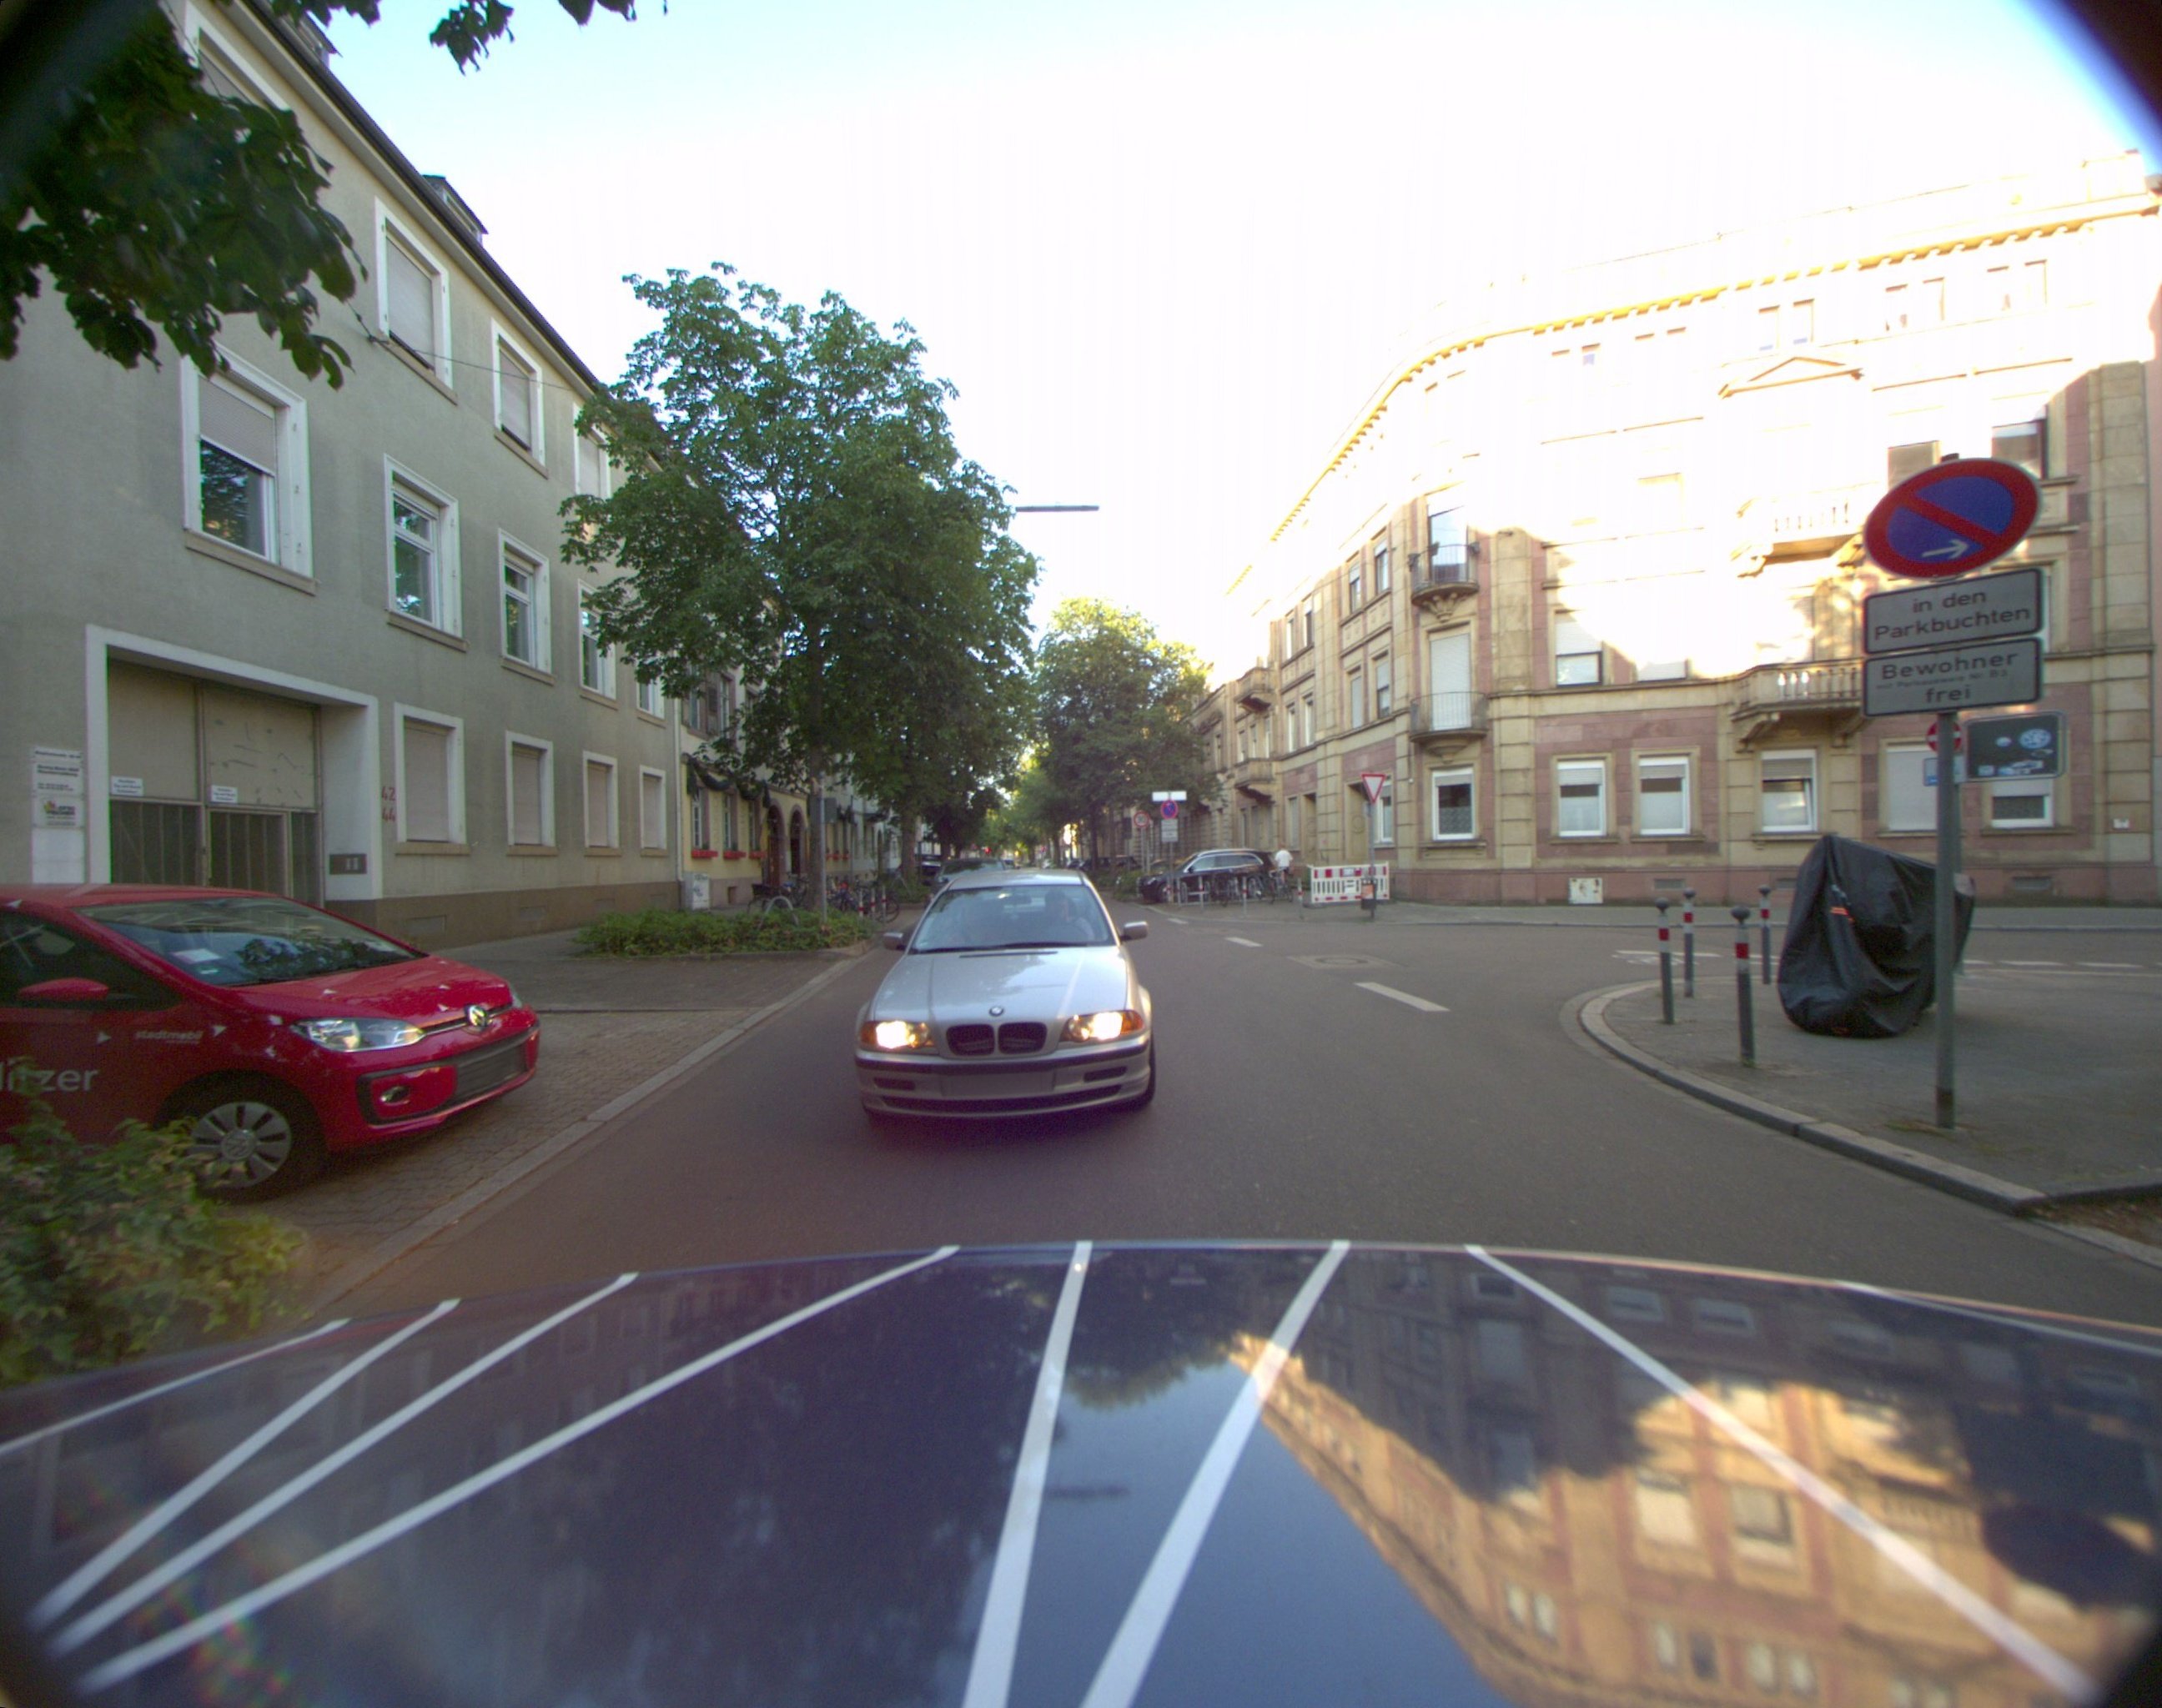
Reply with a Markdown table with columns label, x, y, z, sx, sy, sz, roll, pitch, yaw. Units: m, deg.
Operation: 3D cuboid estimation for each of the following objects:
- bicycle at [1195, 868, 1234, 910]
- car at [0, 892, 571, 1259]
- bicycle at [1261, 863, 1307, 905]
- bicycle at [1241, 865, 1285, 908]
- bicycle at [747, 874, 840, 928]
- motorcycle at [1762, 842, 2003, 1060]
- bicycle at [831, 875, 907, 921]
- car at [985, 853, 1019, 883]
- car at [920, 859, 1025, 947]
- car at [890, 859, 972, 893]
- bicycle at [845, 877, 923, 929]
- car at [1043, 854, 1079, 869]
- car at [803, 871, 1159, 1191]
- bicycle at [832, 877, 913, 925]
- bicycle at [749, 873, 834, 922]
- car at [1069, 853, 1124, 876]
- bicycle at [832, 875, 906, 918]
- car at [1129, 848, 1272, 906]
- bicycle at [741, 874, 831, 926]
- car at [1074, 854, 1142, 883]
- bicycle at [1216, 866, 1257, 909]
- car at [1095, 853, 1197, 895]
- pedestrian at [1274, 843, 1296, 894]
| label | x | y | z | sx | sy | sz | roll | pitch | yaw |
| --- | --- | --- | --- | --- | --- | --- | --- | --- | --- |
| bicycle | 3.887 | 0.996 | 22.210 | 0.562 | 1.144 | 2.038 | -1 | 0 | -6 |
| car | -5.131 | 1.015 | 4.040 | 3.621 | 1.468 | 1.664 | -1 | 0 | -6 |
| bicycle | 5.939 | 0.852 | 22.357 | 0.562 | 1.144 | 2.038 | -1 | 0 | -7 |
| bicycle | 5.320 | 0.931 | 22.311 | 0.562 | 1.144 | 2.038 | -1 | 0 | -7 |
| bicycle | -6.913 | 1.129 | 18.363 | 2.030 | 1.220 | 0.535 | -1 | 1 | -16 |
| motorcycle | 6.545 | 0.665 | 6.170 | 2.286 | 1.496 | 0.816 | -1 | 1 | -30 |
| bicycle | -5.988 | 1.242 | 21.528 | 2.029 | 1.220 | 0.535 | -1 | 1 | -10 |
| car | -4.439 | 0.755 | 43.095 | 1.806 | 1.543 | 3.998 | -1 | 0 | -5 |
| car | -2.110 | 0.901 | 15.825 | 1.806 | 1.543 | 3.999 | -1 | 0 | -3 |
| car | -8.292 | 1.210 | 42.293 | 4.245 | 1.729 | 1.741 | -1 | 0 | -6 |
| bicycle | -4.913 | 1.216 | 19.001 | 1.849 | 1.220 | 0.535 | -1 | 1 | -16 |
| car | -2.474 | 0.881 | 93.125 | 4.245 | 1.749 | 1.741 | -1 | 0 | -4 |
| car | -0.446 | 0.919 | 5.936 | 1.711 | 1.433 | 4.436 | -1 | 0 | 1 |
| bicycle | -5.529 | 1.240 | 20.245 | 2.029 | 1.220 | 0.535 | -1 | 1 | -10 |
| bicycle | -7.683 | 1.136 | 20.216 | 2.029 | 1.220 | 0.535 | -1 | 1 | -12 |
| car | 1.240 | 0.800 | 61.418 | 4.245 | 1.749 | 1.741 | -1 | 0 | -4 |
| bicycle | -6.225 | 1.241 | 22.400 | 2.029 | 1.220 | 0.535 | -1 | 1 | -10 |
| car | 3.886 | 0.723 | 25.219 | 4.423 | 1.771 | 1.741 | -1 | 0 | -2 |
| bicycle | -7.369 | 1.137 | 19.069 | 2.030 | 1.220 | 0.535 | -1 | 1 | -16 |
| car | 1.712 | 0.902 | 48.944 | 4.245 | 1.749 | 1.741 | -1 | 0 | -4 |
| bicycle | 4.526 | 0.952 | 22.274 | 0.562 | 1.144 | 2.038 | -1 | 0 | -6 |
| car | 2.735 | 0.846 | 32.644 | 4.243 | 1.668 | 1.742 | -1 | 0 | 0 |
| pedestrian | 7.315 | 0.521 | 27.238 | 0.572 | 1.797 | 0.651 | -1 | 1 | 1 |
